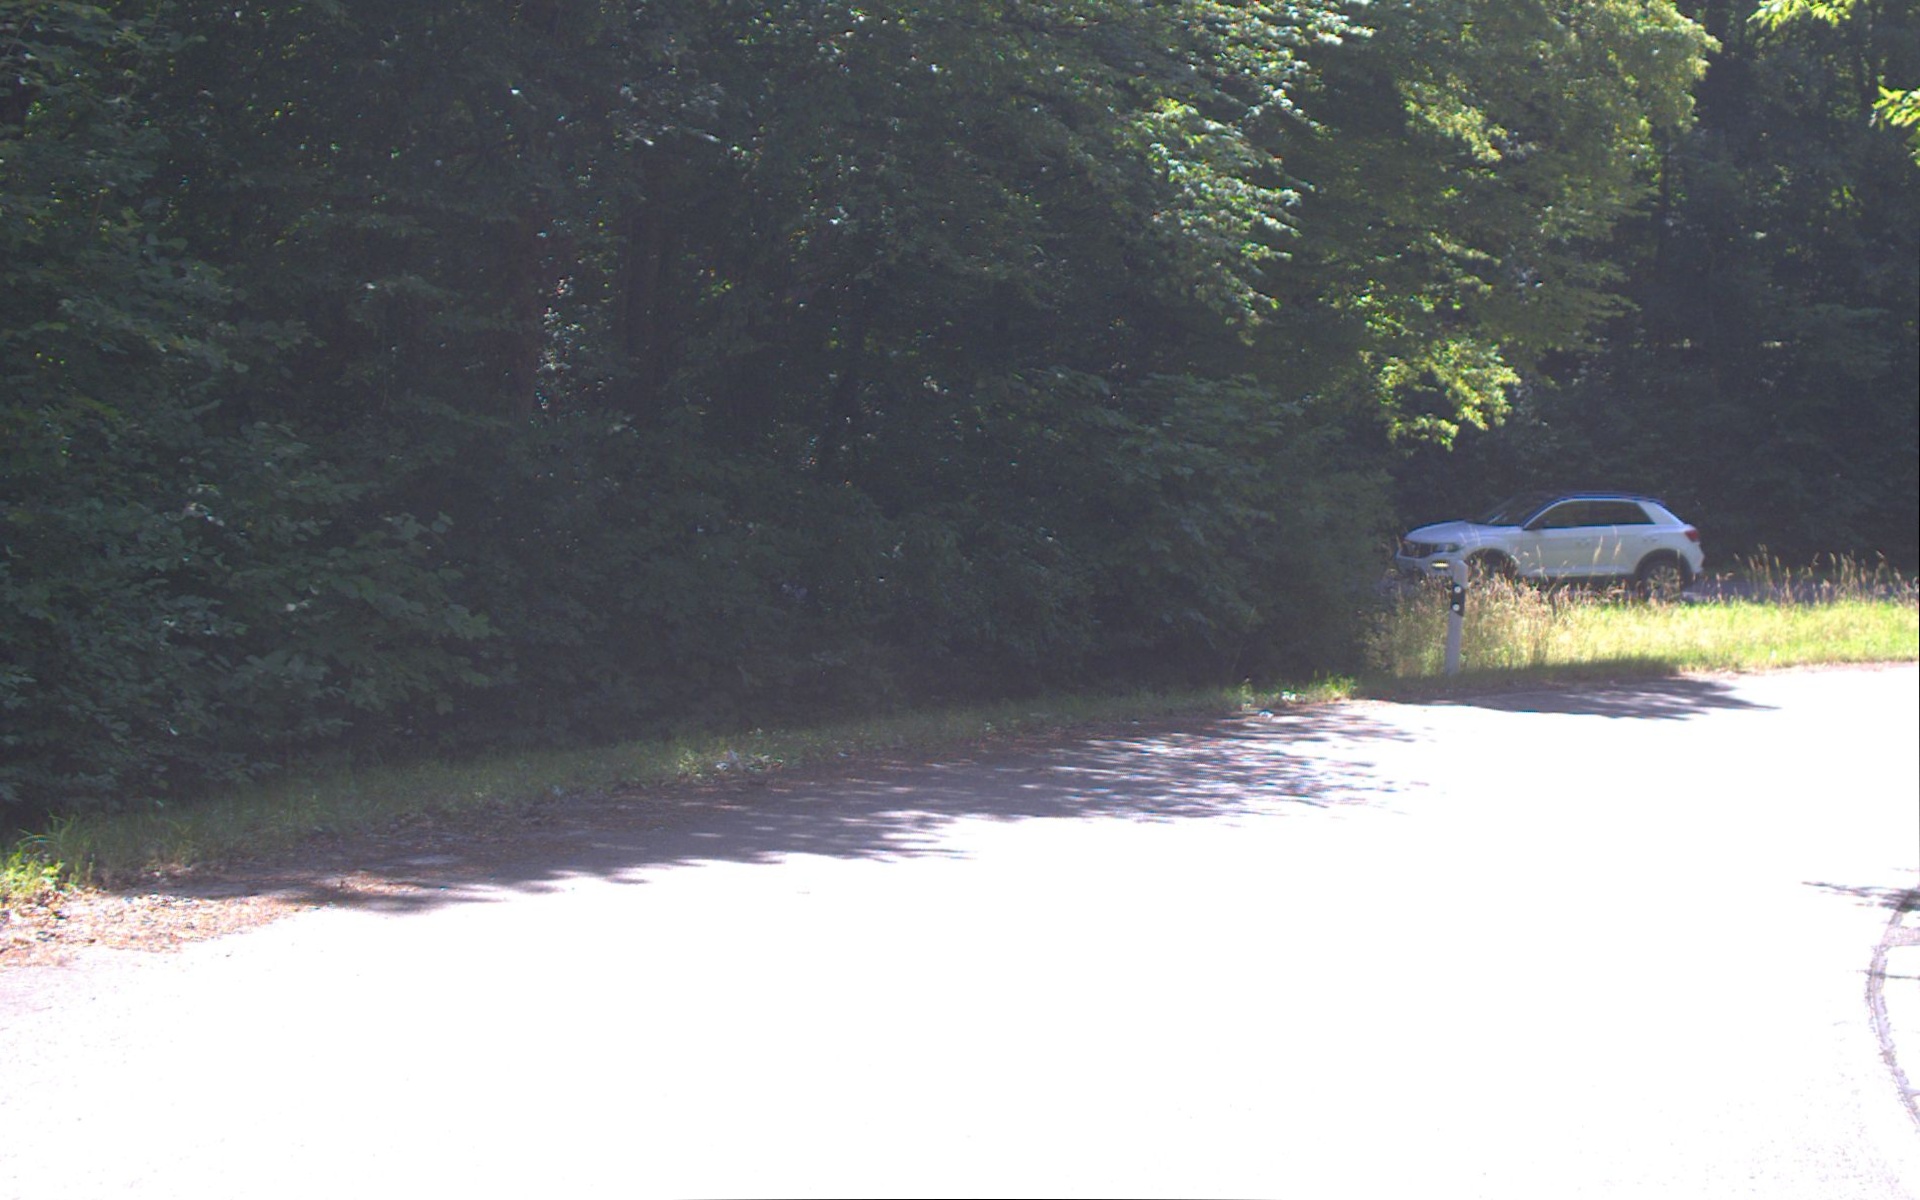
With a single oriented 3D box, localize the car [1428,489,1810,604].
[{"bbox_3d":[9.121,-0.744,47.672,4.852,1.447,1.762,0,5,-15],"label":"car"}]
